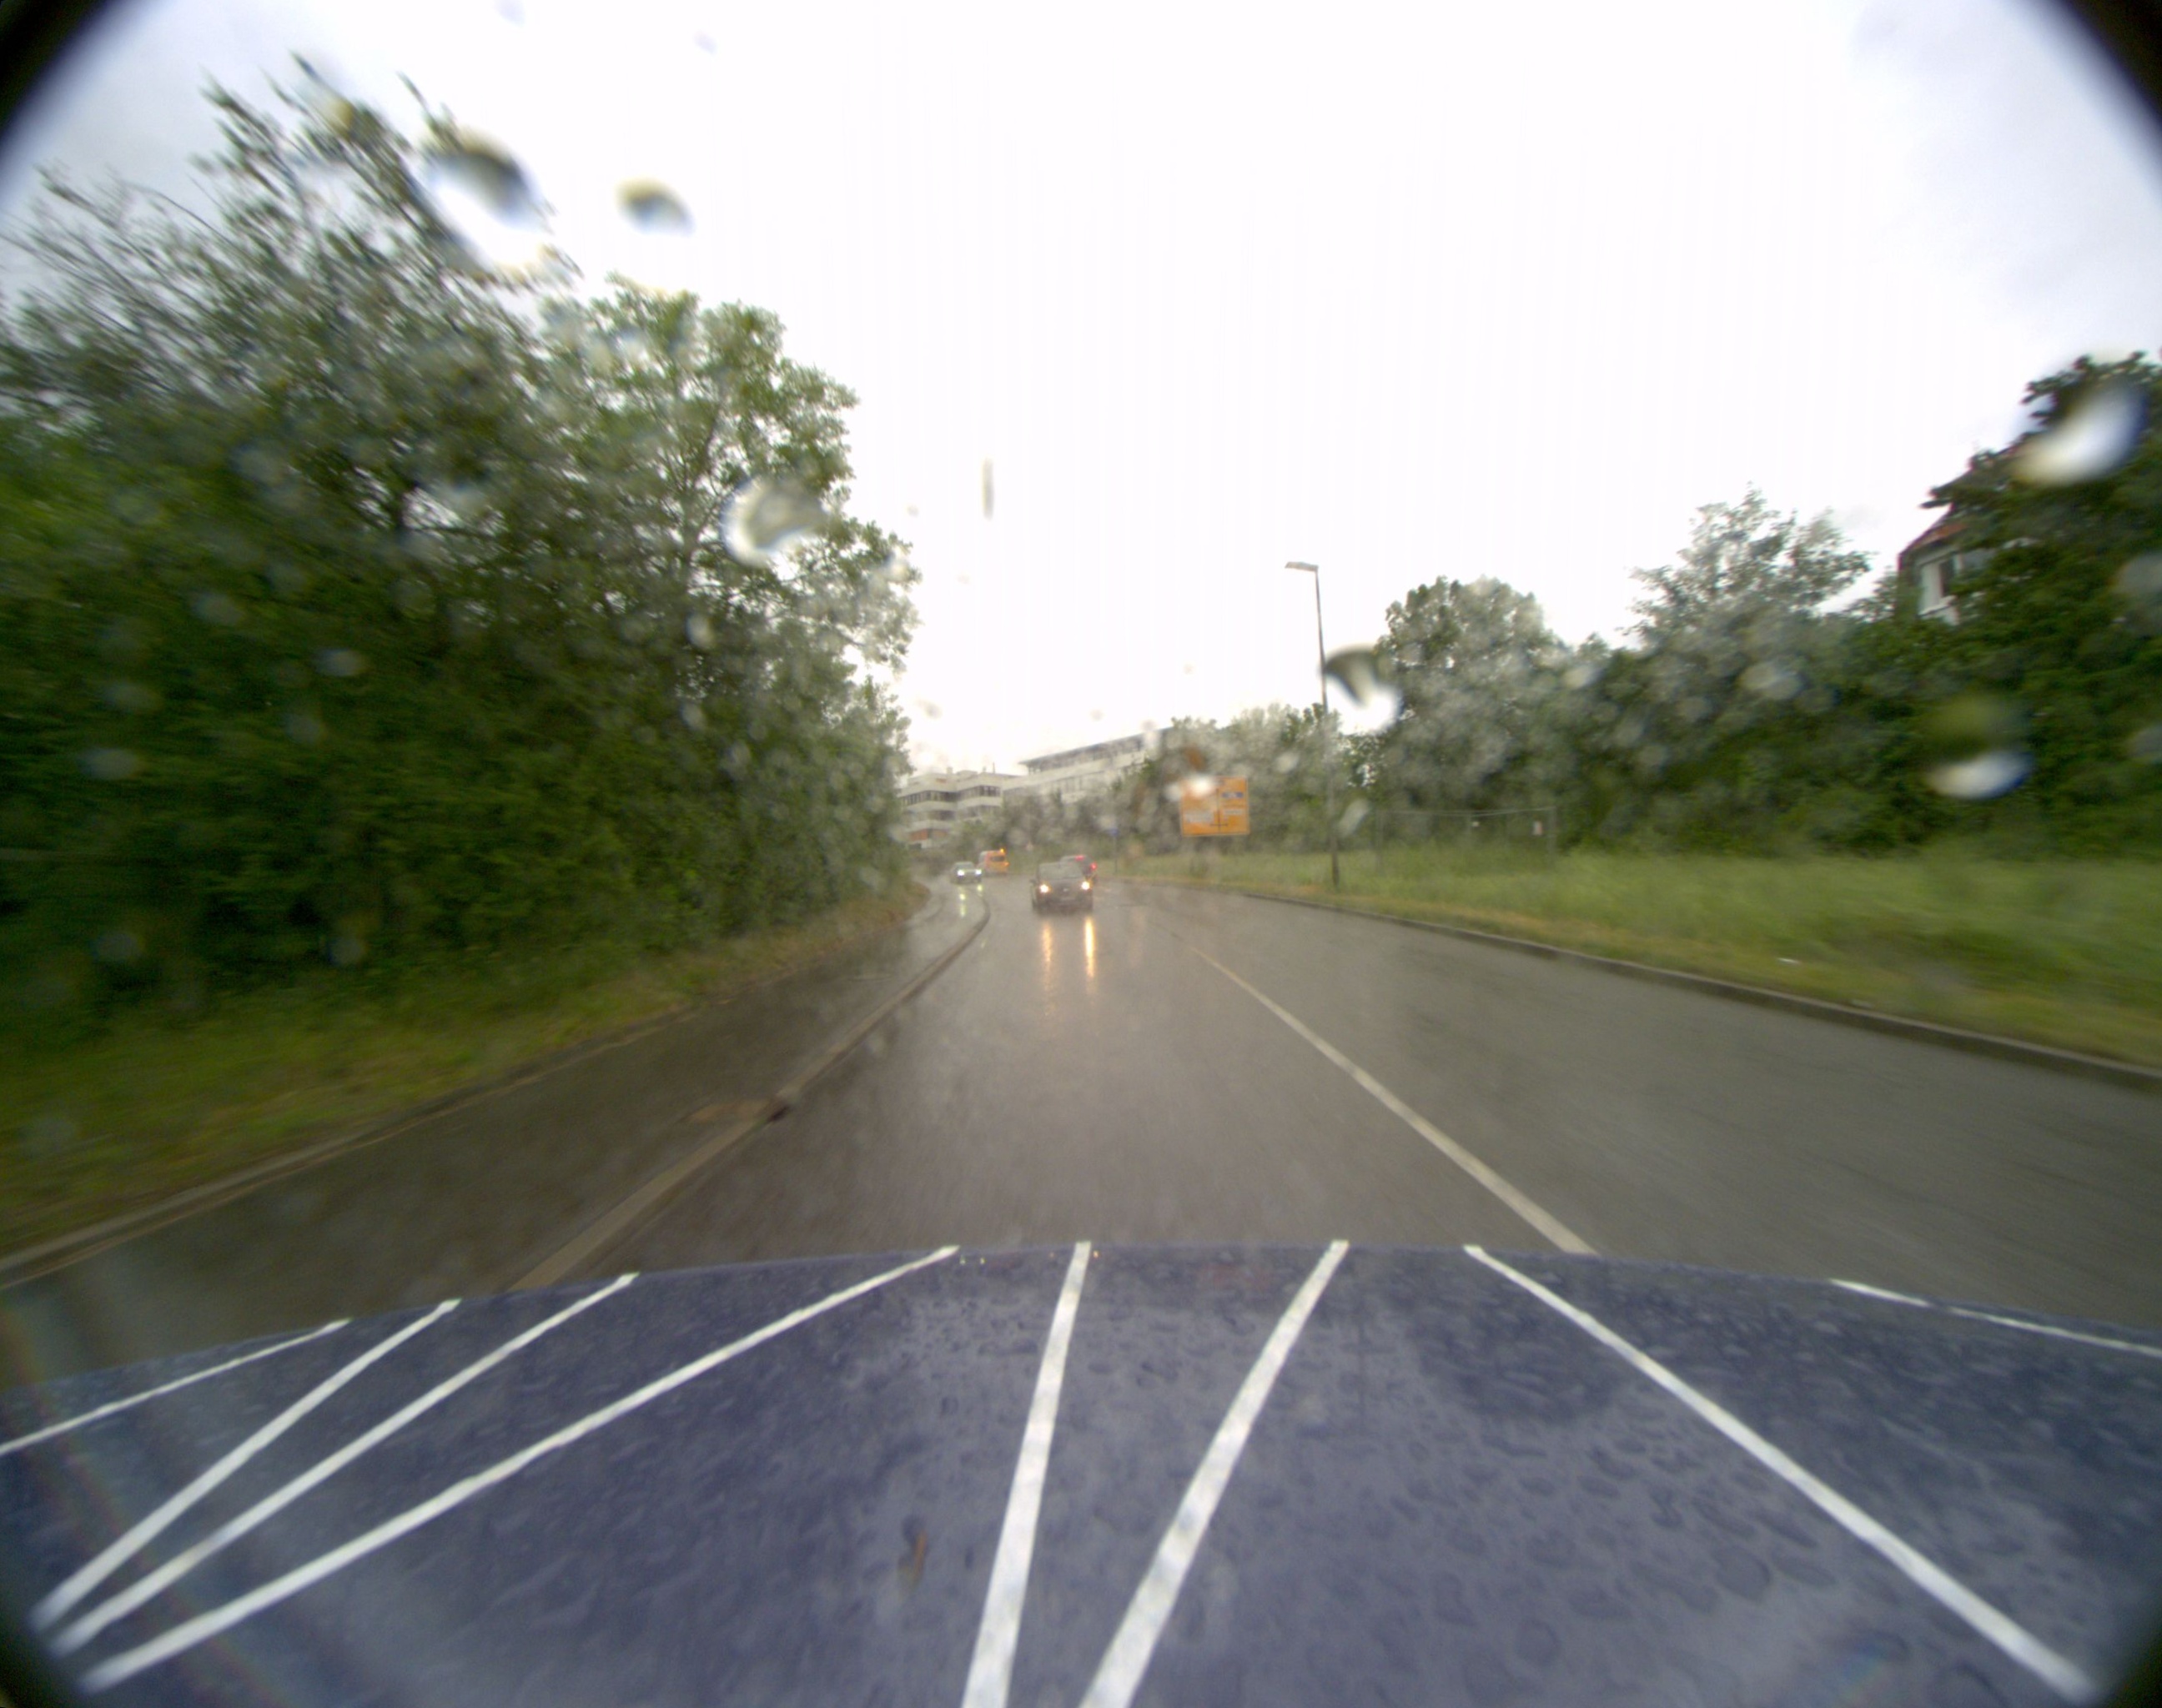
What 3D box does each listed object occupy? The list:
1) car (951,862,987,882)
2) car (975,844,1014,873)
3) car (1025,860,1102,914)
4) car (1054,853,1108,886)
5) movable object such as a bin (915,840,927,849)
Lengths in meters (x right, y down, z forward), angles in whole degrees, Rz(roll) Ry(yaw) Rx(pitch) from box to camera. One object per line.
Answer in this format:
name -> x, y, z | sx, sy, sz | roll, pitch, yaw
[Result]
car -> -8.255, 1.351, 55.850 | 1.877, 1.432, 4.372 | 0, -2, -18
car -> -8.028, 0.456, 70.008 | 2.053, 2.404, 5.446 | -4, 1, -21
car -> -0.653, 0.974, 24.234 | 1.875, 1.433, 4.374 | -4, 1, -8
car -> -0.064, 0.815, 40.881 | 1.871, 1.543, 4.261 | -5, 0, -13
movable object such as a bin -> -22.886, -1.352, 108.626 | 1.247, 1.338, 1.214 | -1, 0, -35
